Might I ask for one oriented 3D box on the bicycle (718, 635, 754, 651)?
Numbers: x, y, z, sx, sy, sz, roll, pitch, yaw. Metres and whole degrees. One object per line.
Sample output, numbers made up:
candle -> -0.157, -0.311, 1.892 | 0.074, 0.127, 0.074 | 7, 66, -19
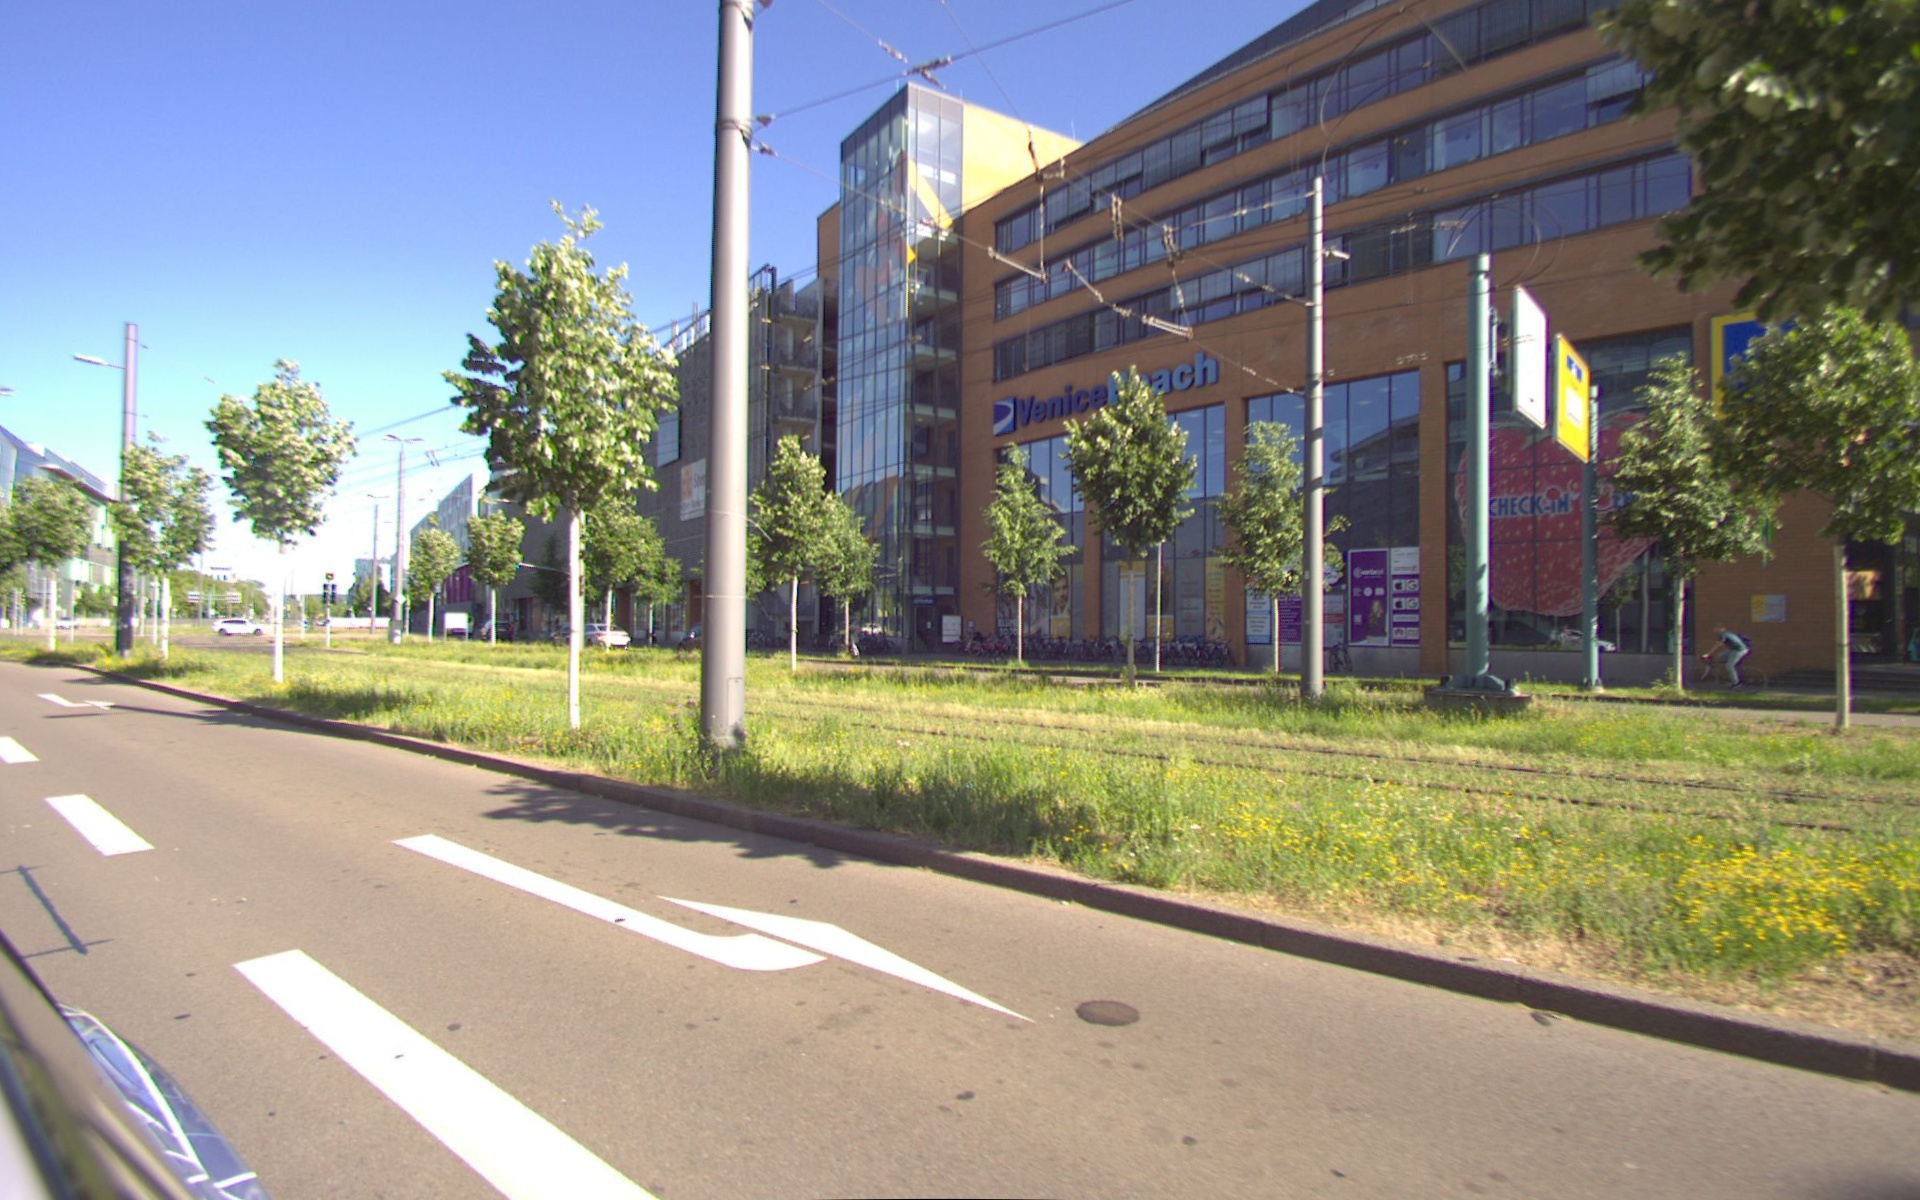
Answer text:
bicycle -> -13.822, 2.658, 62.479 | 2.146, 0.962, 0.493 | 0, -1, -41

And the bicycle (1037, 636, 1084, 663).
bicycle -> 4.417, 2.148, 44.246 | 2.146, 1.132, 0.754 | 0, -1, -40

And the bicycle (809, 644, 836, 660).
bicycle -> -7.656, 2.887, 56.368 | 1.428, 0.825, 0.446 | 0, -1, -41

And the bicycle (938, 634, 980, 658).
bicycle -> -0.033, 2.283, 50.678 | 2.146, 1.132, 0.754 | 0, -1, -40

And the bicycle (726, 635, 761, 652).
bicycle -> -13.273, 2.650, 62.154 | 2.146, 0.962, 0.493 | 0, -1, -41

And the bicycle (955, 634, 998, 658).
bicycle -> 0.805, 2.256, 49.985 | 2.146, 1.132, 0.754 | 0, -1, -40

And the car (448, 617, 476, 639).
car -> -47.747, 2.714, 97.075 | 2.189, 2.029, 5.273 | 1, -2, -24

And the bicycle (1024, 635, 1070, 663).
bicycle -> 3.887, 2.162, 45.005 | 2.146, 1.132, 0.754 | 0, -1, -40

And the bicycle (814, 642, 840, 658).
bicycle -> -7.335, 2.745, 55.982 | 1.428, 0.825, 0.446 | 0, -1, -41

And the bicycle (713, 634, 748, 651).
bicycle -> -14.259, 2.629, 62.893 | 2.146, 0.962, 0.493 | 0, -1, -41

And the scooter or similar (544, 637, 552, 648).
scooter or similar -> -35.138, 3.623, 86.368 | 0.296, 0.857, 1.229 | 1, -2, -37

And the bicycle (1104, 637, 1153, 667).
bicycle -> 6.824, 2.098, 41.000 | 2.146, 1.132, 0.754 | 0, -1, -40

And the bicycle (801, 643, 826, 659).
bicycle -> -8.263, 2.861, 57.107 | 1.428, 0.825, 0.446 | 0, -1, -41

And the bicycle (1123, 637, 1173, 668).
bicycle -> 7.479, 2.077, 40.216 | 2.146, 1.132, 0.754 | 0, -1, -40

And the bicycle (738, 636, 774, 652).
bicycle -> -12.398, 2.672, 61.571 | 2.146, 0.962, 0.493 | 0, -1, -41

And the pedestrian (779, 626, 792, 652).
pedestrian -> -10.633, 2.370, 61.722 | 0.626, 1.565, 0.663 | 1, -2, -28

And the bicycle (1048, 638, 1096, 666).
bicycle -> 4.801, 2.204, 43.321 | 2.146, 1.132, 0.754 | 0, -1, -40

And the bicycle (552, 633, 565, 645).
bicycle -> -37.263, 3.605, 93.902 | 0.588, 1.018, 2.576 | 1, -2, -33

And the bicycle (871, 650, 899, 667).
bicycle -> -3.773, 2.958, 51.219 | 1.428, 0.825, 0.446 | 0, -1, -41

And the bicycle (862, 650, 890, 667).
bicycle -> -4.308, 2.997, 51.933 | 1.428, 0.825, 0.446 | 0, -1, -41

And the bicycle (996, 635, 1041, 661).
bicycle -> 2.701, 2.203, 46.687 | 2.146, 1.132, 0.754 | 0, -1, -40

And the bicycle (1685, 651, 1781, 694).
bicycle -> 19.253, 1.792, 25.241 | 1.893, 0.933, 0.349 | 1, -1, 40

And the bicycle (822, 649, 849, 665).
bicycle -> -6.714, 3.059, 54.581 | 1.428, 0.825, 0.446 | 0, -1, -41

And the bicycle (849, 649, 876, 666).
bicycle -> -5.109, 3.027, 53.166 | 1.428, 0.825, 0.446 | 0, -1, -41

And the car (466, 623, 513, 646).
car -> -36.540, 2.640, 78.547 | 1.970, 1.694, 4.542 | 2, -2, -44

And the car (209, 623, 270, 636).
car -> -62.304, 2.571, 87.580 | 3.931, 1.098, 2.006 | 1, -2, -19

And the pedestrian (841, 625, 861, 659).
pedestrian -> -5.466, 2.082, 50.802 | 0.778, 1.698, 0.589 | -1, -2, 42

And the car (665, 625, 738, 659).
car -> -10.771, 1.725, 42.127 | 3.296, 1.370, 1.412 | -1, -2, 43

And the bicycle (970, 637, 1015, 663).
bicycle -> 1.541, 2.337, 47.774 | 2.146, 1.132, 0.754 | 0, -1, -40

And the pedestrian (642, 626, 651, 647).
pedestrian -> -23.099, 2.702, 74.553 | 0.483, 1.530, 0.651 | 1, -2, -30

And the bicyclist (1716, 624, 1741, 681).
bicyclist -> 19.207, 1.312, 25.293 | 0.481, 1.387, 0.337 | 1, -1, 39

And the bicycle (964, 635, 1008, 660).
bicycle -> 1.256, 2.283, 48.939 | 2.146, 1.132, 0.754 | 0, -1, -40

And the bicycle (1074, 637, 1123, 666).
bicycle -> 5.724, 2.114, 41.854 | 2.146, 1.132, 0.754 | 0, -1, -40

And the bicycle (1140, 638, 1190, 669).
bicycle -> 7.987, 2.067, 39.409 | 2.146, 1.132, 0.754 | 0, -1, -40

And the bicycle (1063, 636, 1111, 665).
bicycle -> 5.359, 2.122, 42.675 | 2.146, 1.132, 0.754 | 0, -1, -40

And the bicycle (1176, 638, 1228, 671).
bicycle -> 9.087, 2.031, 37.952 | 2.146, 1.132, 0.754 | 0, -1, -40

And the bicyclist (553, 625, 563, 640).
bicyclist -> -37.281, 3.015, 93.937 | 0.584, 1.418, 1.316 | 1, -2, -33

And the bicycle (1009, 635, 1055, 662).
bicycle -> 3.265, 2.189, 45.843 | 2.146, 1.132, 0.754 | 0, -1, -40

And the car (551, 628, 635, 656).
car -> -18.350, 2.064, 50.480 | 4.790, 1.344, 1.972 | -1, -2, 43
